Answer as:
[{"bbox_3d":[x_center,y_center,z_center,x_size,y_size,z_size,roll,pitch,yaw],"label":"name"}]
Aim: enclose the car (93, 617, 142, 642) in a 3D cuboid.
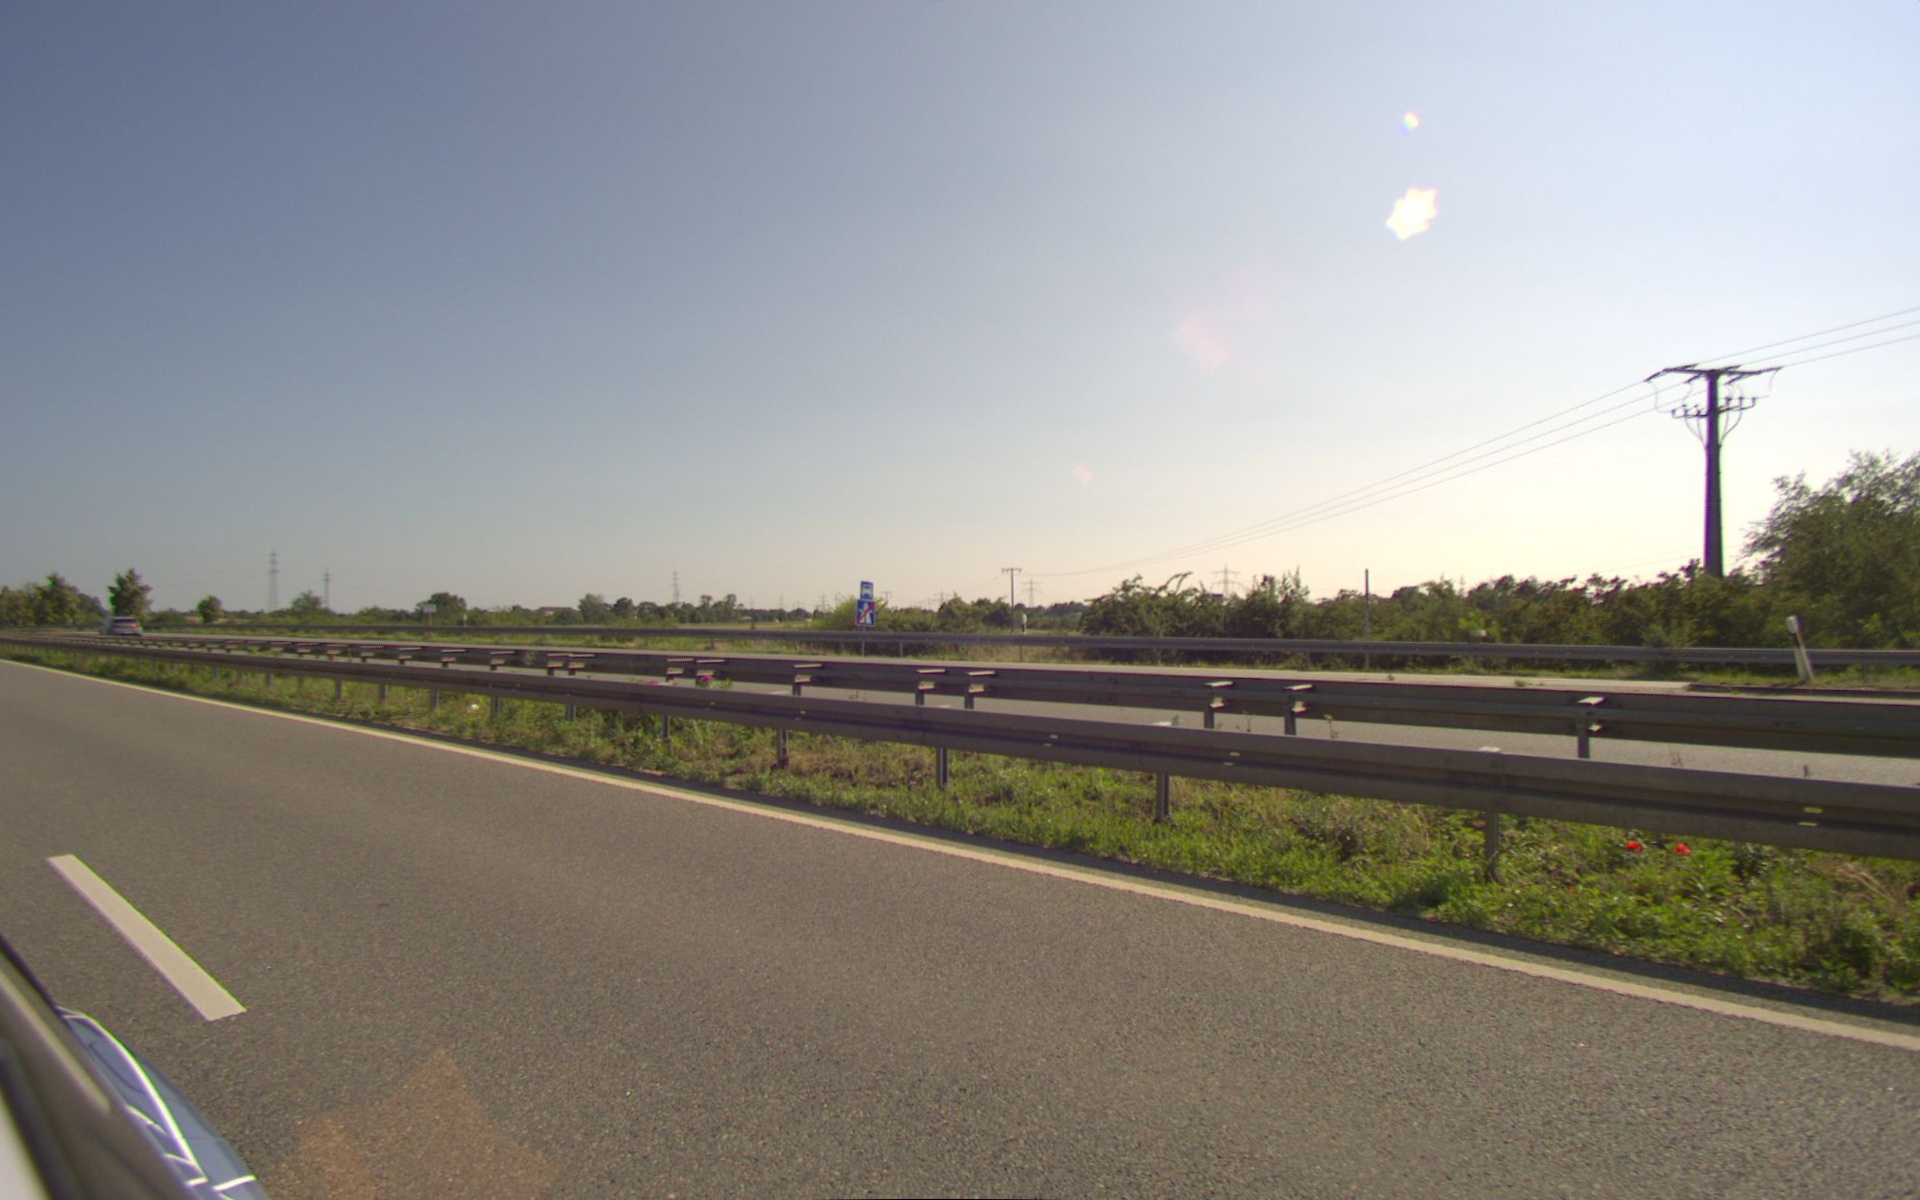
[{"bbox_3d":[-56.357,1.963,67.709,4.616,1.496,1.683,-1,2,40],"label":"car"}]
